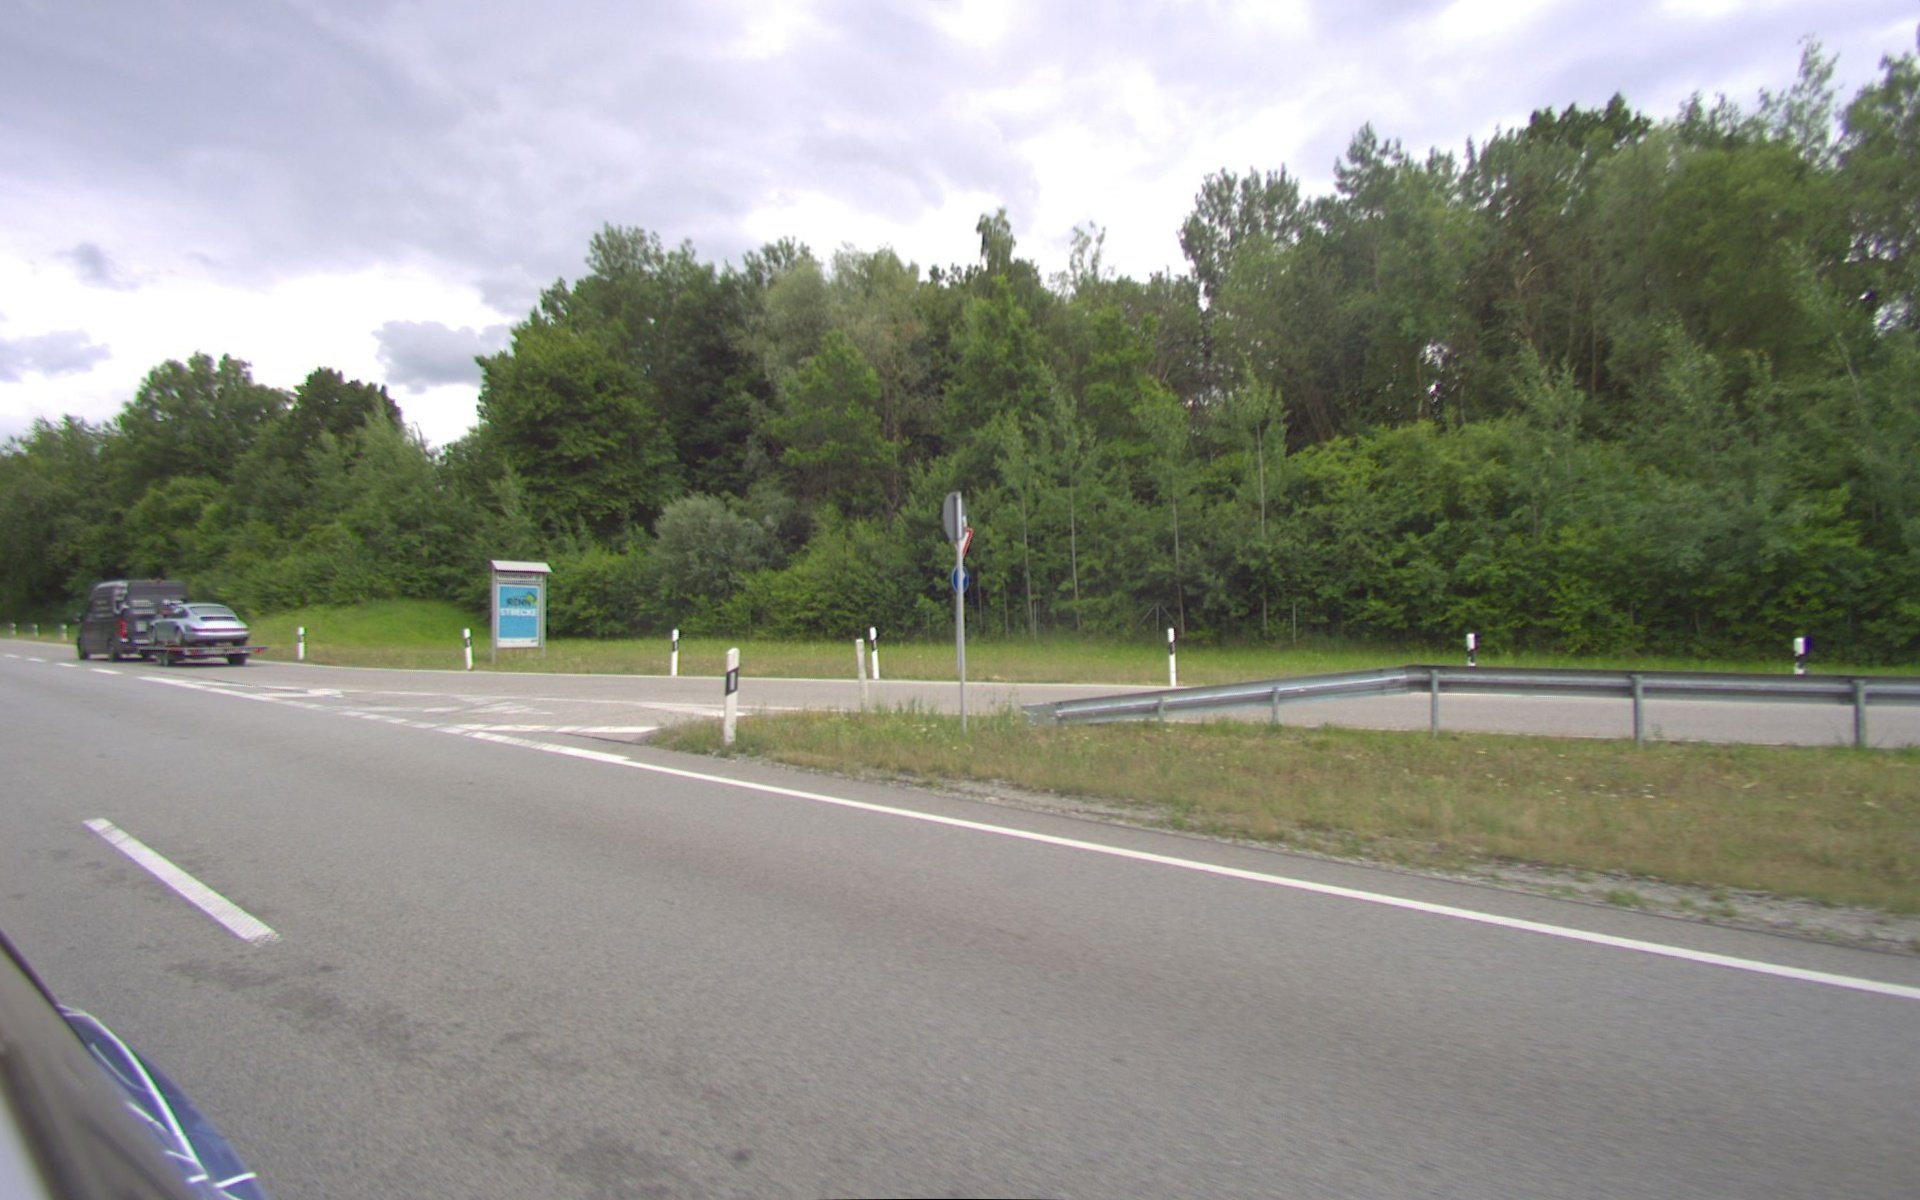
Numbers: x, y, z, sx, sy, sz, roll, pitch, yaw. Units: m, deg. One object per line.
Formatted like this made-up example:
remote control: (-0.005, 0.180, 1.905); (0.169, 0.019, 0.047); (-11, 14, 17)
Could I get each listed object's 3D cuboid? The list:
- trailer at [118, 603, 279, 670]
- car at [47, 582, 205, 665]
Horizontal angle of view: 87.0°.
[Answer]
trailer: (-22.693, 1.040, 30.092); (5.674, 1.805, 2.038); (-1, 0, 33)
car: (-27.971, 0.778, 33.847); (7.146, 2.549, 2.237); (-1, -2, 35)
